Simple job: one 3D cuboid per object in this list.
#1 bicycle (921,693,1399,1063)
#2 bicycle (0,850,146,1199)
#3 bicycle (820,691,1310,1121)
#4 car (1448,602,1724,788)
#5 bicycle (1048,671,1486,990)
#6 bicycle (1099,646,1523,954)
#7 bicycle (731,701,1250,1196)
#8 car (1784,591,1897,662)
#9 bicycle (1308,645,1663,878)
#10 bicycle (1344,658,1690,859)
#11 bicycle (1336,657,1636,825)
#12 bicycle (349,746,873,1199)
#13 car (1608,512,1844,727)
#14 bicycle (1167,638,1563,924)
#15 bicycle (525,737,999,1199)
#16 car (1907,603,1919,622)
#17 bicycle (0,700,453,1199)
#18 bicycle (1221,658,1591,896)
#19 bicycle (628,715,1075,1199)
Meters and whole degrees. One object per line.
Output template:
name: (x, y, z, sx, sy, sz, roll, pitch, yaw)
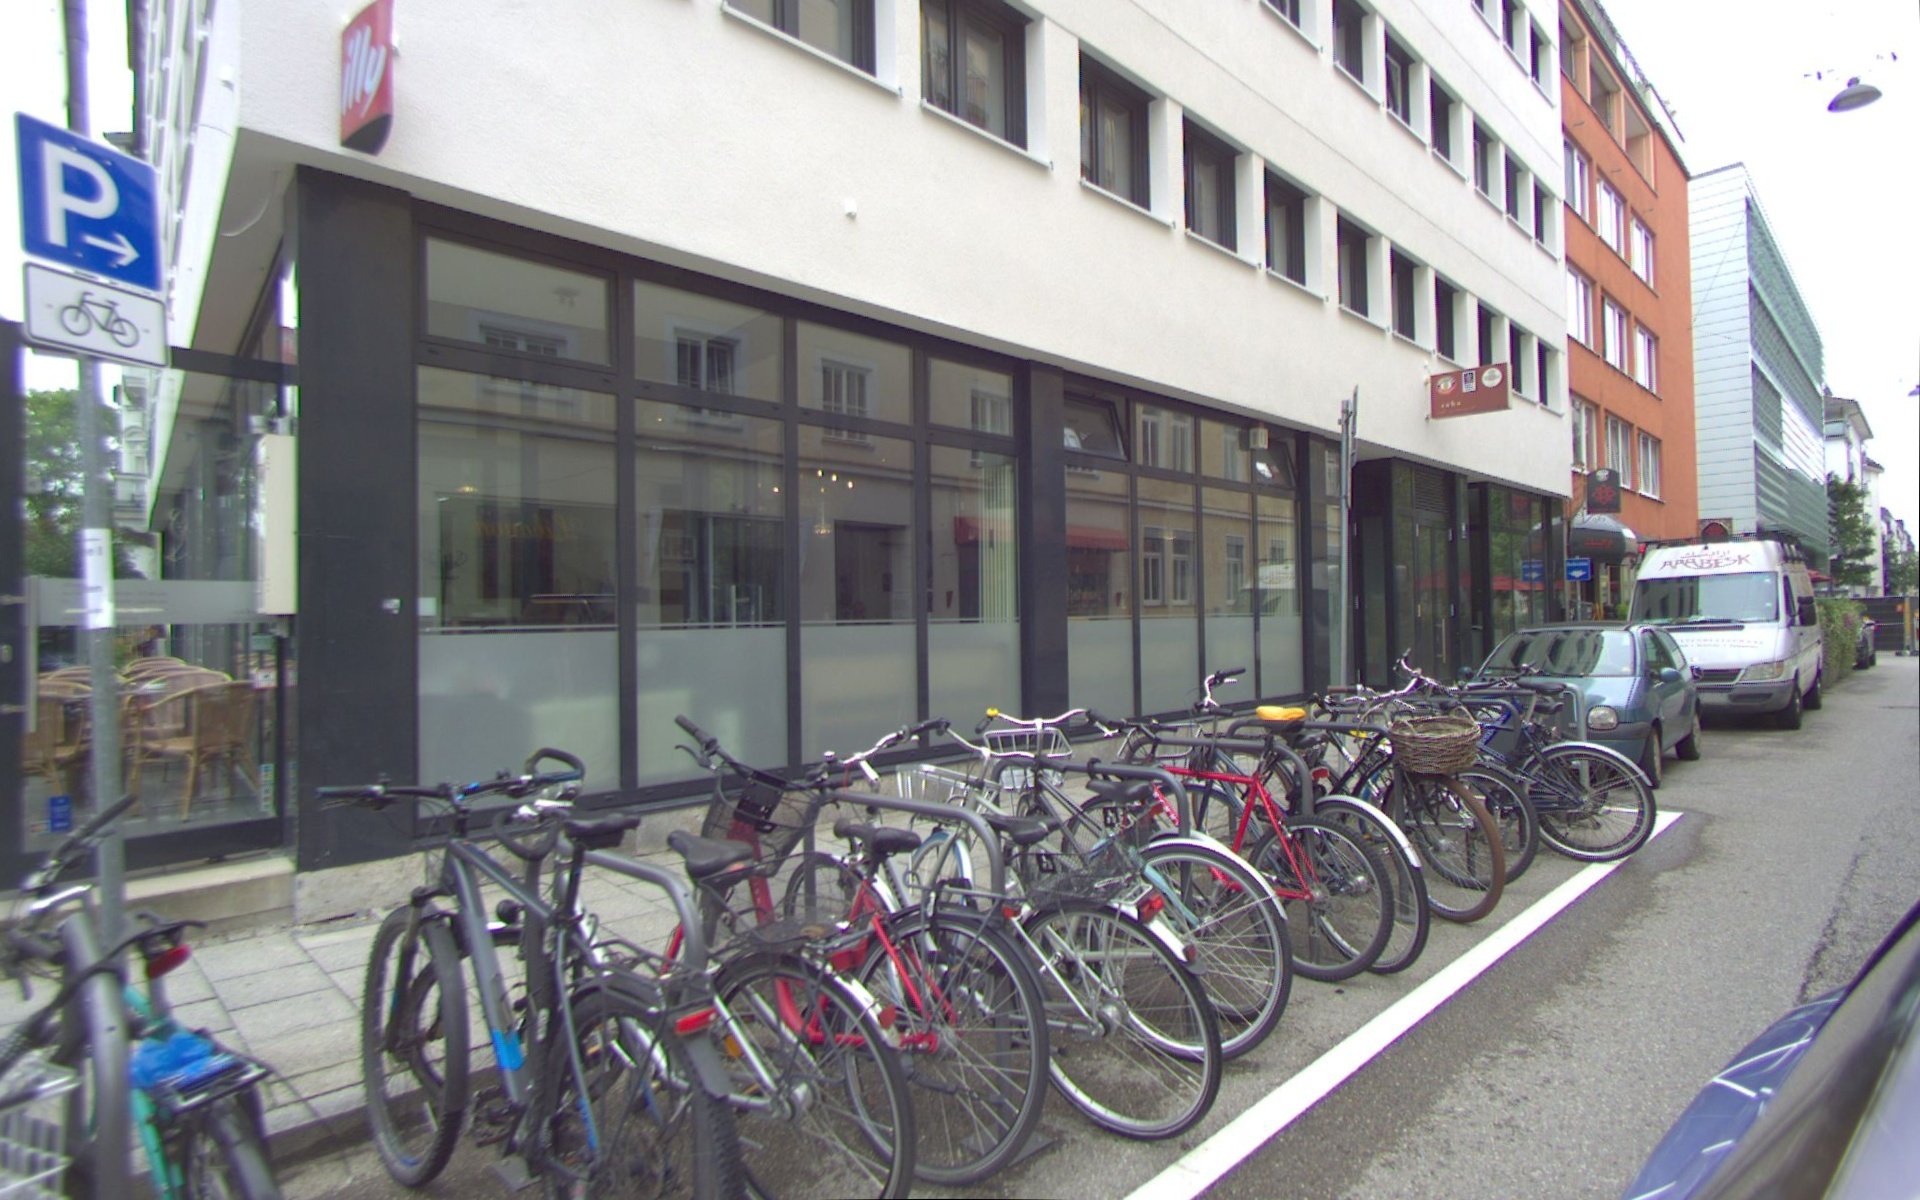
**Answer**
bicycle: (0.711, 0.976, 4.116, 1.872, 1.065, 0.556, -2, 0, 43)
bicycle: (-1.647, 0.973, 1.443, 1.448, 1.083, 0.457, -2, -2, 39)
bicycle: (0.252, 0.918, 3.603, 1.872, 1.094, 0.396, -2, -3, 43)
car: (6.218, 0.784, 9.904, 1.580, 1.483, 3.495, -2, -2, 44)
bicycle: (1.266, 0.903, 4.536, 1.872, 1.109, 0.433, -2, -3, 43)
bicycle: (1.617, 0.843, 4.943, 1.893, 1.185, 0.557, -1, -1, 44)
bicycle: (-0.028, 0.928, 3.271, 1.872, 1.094, 0.402, -2, -3, 43)
car: (23.490, 0.678, 26.950, 4.315, 1.732, 1.825, 0, -3, -44)
bicycle: (3.152, 0.899, 6.242, 1.873, 1.220, 0.480, -2, -3, 44)
bicycle: (3.534, 0.954, 6.583, 1.873, 1.123, 0.480, -4, -4, 44)
bicycle: (3.833, 0.996, 7.523, 1.873, 1.094, 0.480, -5, -5, 44)
bicycle: (-0.962, 0.993, 2.484, 1.739, 1.094, 0.445, -2, -3, 43)
car: (11.346, 0.281, 14.776, 1.920, 2.539, 5.900, -4, -3, 44)
bicycle: (2.061, 0.839, 5.373, 1.873, 1.219, 0.570, -1, -1, 44)
bicycle: (-0.635, 0.990, 2.731, 1.673, 1.094, 0.331, -2, -3, 43)
car: (72.808, 0.908, 76.404, 1.805, 1.416, 3.935, -2, -1, 45)
bicycle: (-1.500, 0.840, 1.934, 1.448, 1.223, 0.390, -2, -2, 39)
bicycle: (2.524, 0.942, 5.929, 1.873, 1.172, 0.556, -4, -5, 44)
bicycle: (-0.415, 0.951, 3.050, 1.612, 1.094, 0.372, -2, -3, 43)
